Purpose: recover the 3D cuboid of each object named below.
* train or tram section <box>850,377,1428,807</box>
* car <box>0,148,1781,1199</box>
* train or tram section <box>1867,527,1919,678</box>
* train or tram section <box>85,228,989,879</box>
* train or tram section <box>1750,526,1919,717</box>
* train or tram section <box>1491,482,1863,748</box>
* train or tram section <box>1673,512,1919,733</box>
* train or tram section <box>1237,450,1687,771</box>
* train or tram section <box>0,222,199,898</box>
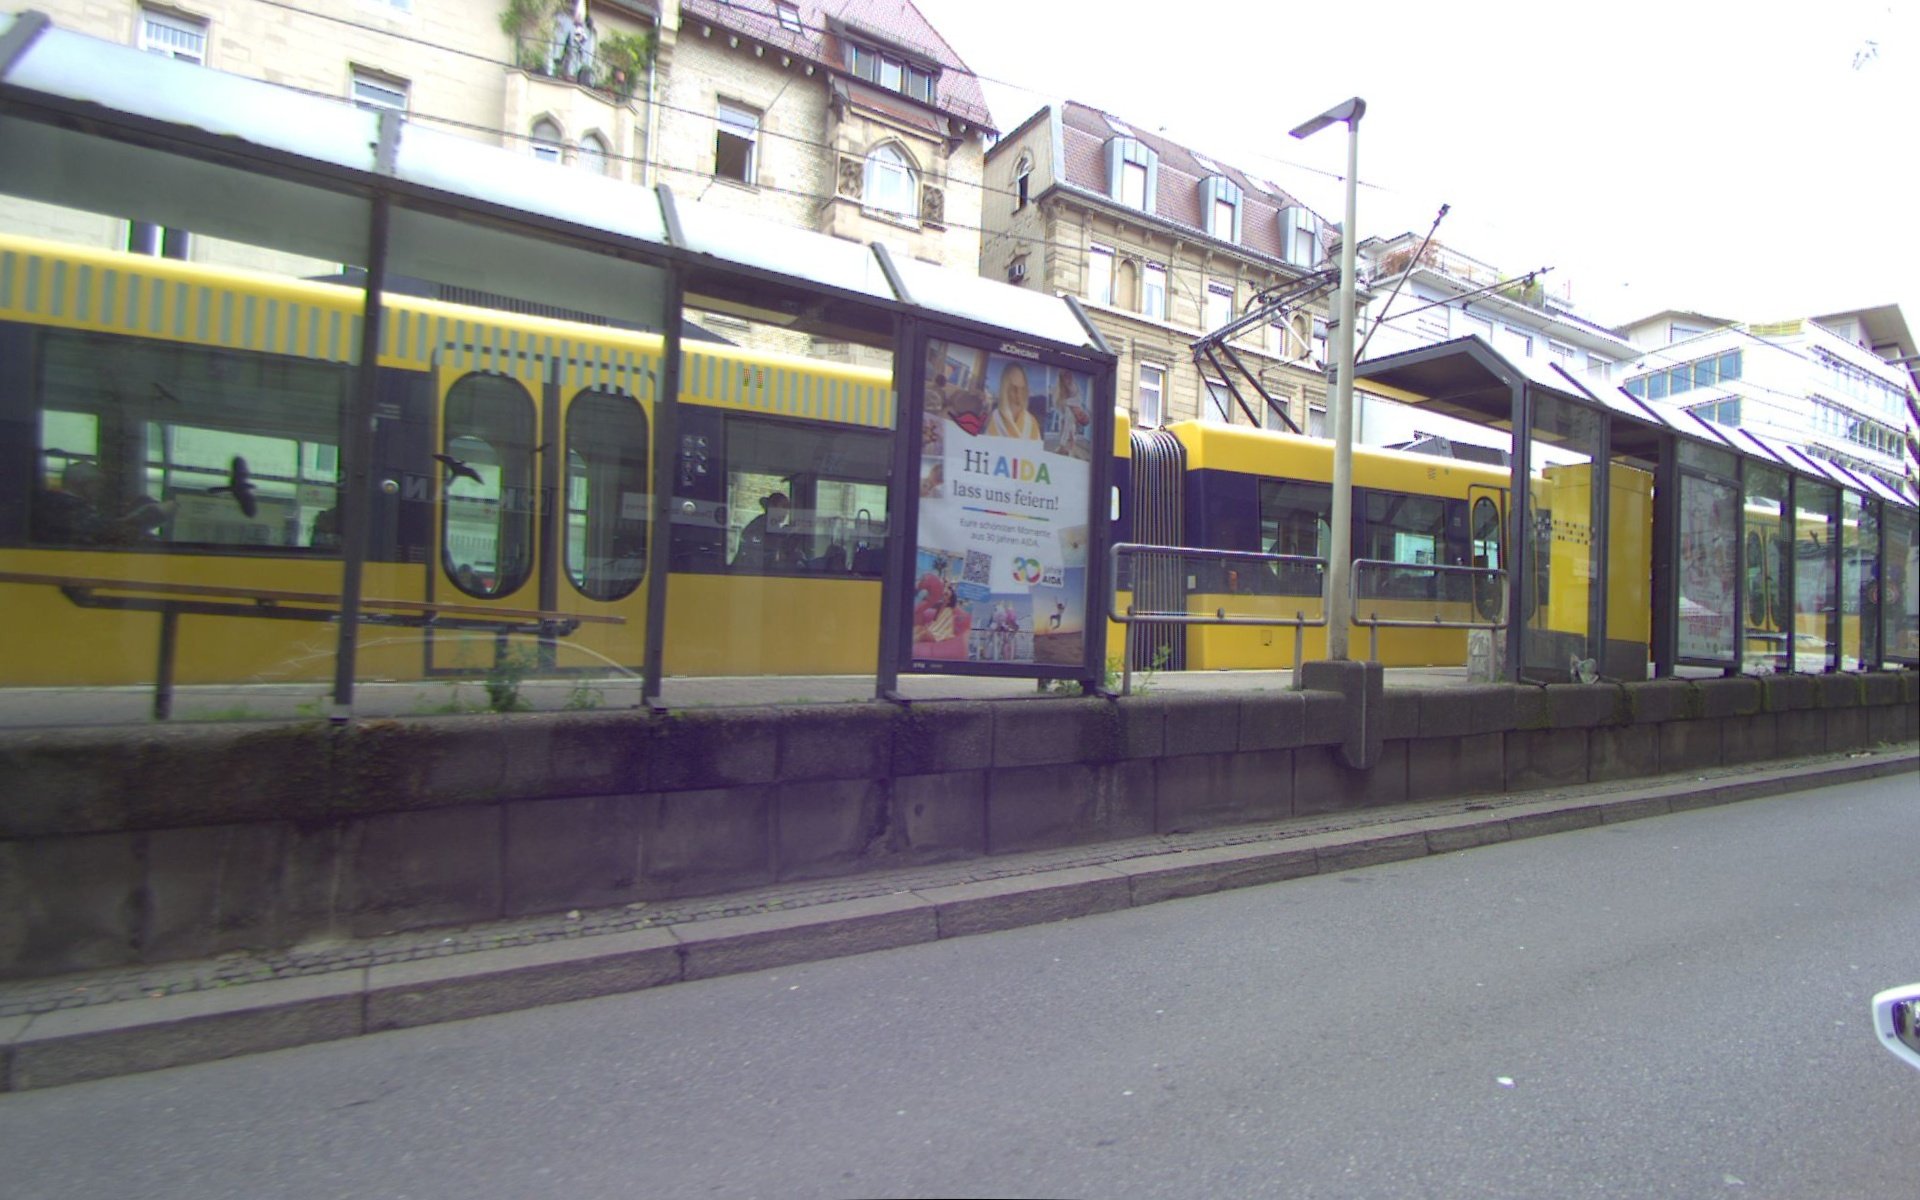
[{"bbox_3d":[2.014,0.015,10.980,5.683,3.568,2.822,2,0,-30],"label":"train or tram section"},{"bbox_3d":[-0.076,0.555,3.174,5.085,2.040,2.355,3,-1,-28],"label":"car"},{"bbox_3d":[26.564,0.169,25.955,6.674,3.715,2.799,2,0,-31],"label":"train or tram section"},{"bbox_3d":[-2.948,-0.174,8.153,5.683,3.568,2.822,2,0,-30],"label":"train or tram section"},{"bbox_3d":[20.836,0.513,22.445,6.674,3.715,2.799,2,0,-31],"label":"train or tram section"},{"bbox_3d":[11.949,0.295,16.688,5.832,3.715,2.800,2,0,-30],"label":"train or tram section"},{"bbox_3d":[17.365,0.472,19.817,6.671,3.715,2.800,2,0,-30],"label":"train or tram section"},{"bbox_3d":[6.946,0.192,13.814,5.683,3.568,2.822,2,0,-30],"label":"train or tram section"},{"bbox_3d":[-7.878,-0.291,5.319,5.683,3.568,2.822,2,0,-30],"label":"train or tram section"}]
